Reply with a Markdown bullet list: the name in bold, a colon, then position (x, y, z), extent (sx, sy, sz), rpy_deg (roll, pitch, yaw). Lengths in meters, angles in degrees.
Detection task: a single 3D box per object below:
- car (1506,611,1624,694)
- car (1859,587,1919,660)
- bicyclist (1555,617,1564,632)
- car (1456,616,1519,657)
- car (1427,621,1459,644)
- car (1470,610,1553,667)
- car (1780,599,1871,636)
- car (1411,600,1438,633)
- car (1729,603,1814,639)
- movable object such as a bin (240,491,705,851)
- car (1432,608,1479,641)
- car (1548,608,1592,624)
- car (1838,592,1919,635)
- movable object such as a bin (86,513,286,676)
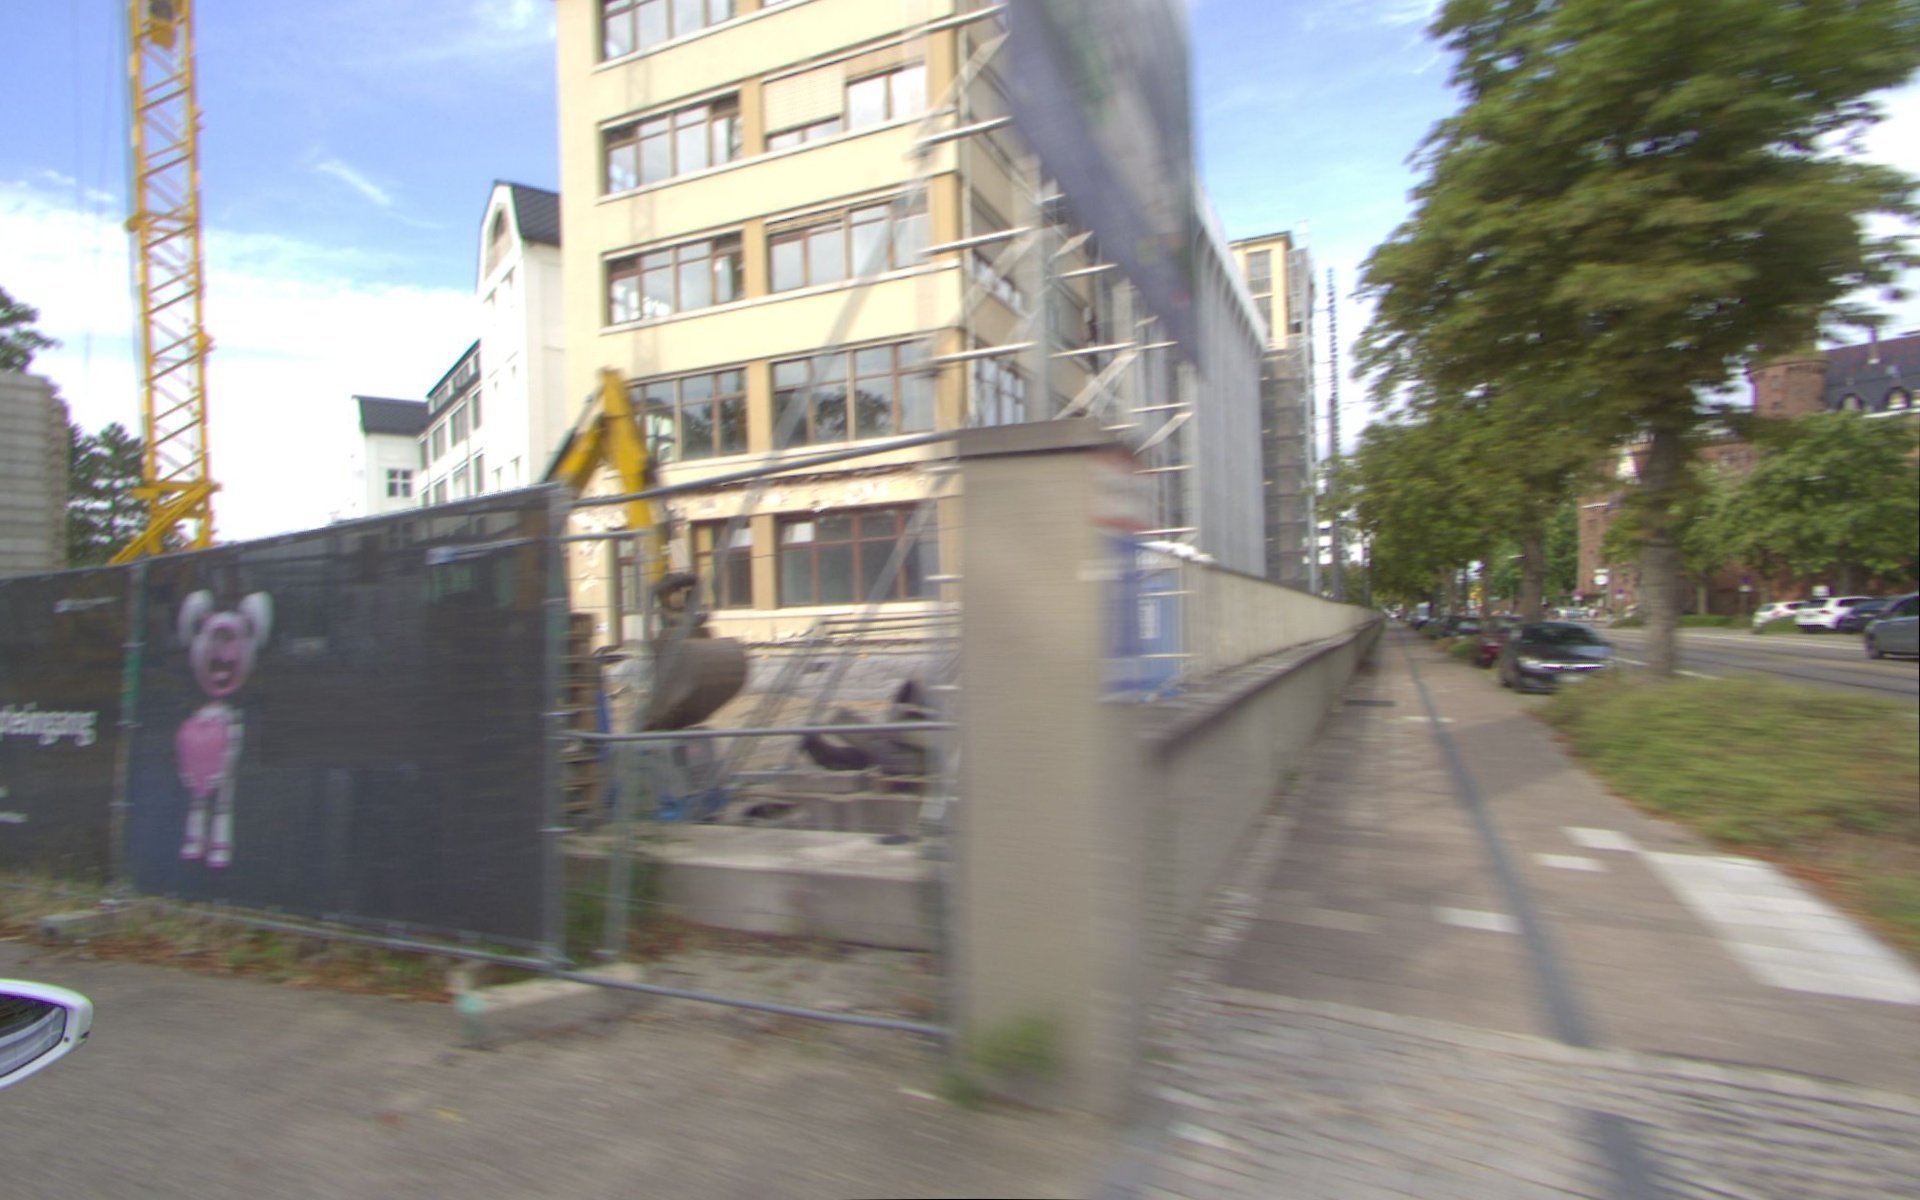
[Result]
- **car**: position (11.529, 0.962, 19.287), extent (1.570, 1.420, 3.949), rpy_deg (-2, -2, 26)
- **car**: position (23.728, 0.531, 23.970), extent (1.787, 1.723, 4.606), rpy_deg (-2, -1, 22)
- **bicyclist**: position (58.499, 2.379, 97.661), extent (0.584, 1.478, 0.873), rpy_deg (-2, -1, 21)
- **car**: position (19.568, 1.330, 37.286), extent (1.568, 1.420, 3.954), rpy_deg (-2, -2, 21)
- **car**: position (31.599, 2.096, 65.565), extent (1.568, 1.420, 3.954), rpy_deg (-2, -2, 21)
- **car**: position (15.861, 1.098, 28.970), extent (1.613, 1.515, 3.953), rpy_deg (-2, -1, 22)
- **car**: position (39.873, 0.811, 46.135), extent (3.586, 1.623, 1.678), rpy_deg (-1, -2, -22)
- **car**: position (40.479, 1.440, 87.313), extent (1.697, 2.739, 5.458), rpy_deg (-1, -1, 21)
- **car**: position (39.433, 1.022, 48.662), extent (3.586, 1.623, 1.678), rpy_deg (-1, -2, -22)
- **movable object such as a bin**: position (-4.232, 0.564, 8.779), extent (3.019, 2.474, 2.484), rpy_deg (-2, -2, 34)
- **car**: position (23.182, 1.139, 46.914), extent (1.568, 1.420, 3.954), rpy_deg (-2, -2, 21)
- **car**: position (70.535, 1.899, 115.844), extent (3.929, 1.715, 1.997), rpy_deg (-2, -1, 18)
- **car**: position (37.174, 0.527, 40.004), extent (3.586, 1.623, 1.678), rpy_deg (-1, -2, -22)
- **movable object such as a bin**: position (-35.874, -0.027, 47.153), extent (3.789, 6.754, 10.973), rpy_deg (-1, -2, -17)
